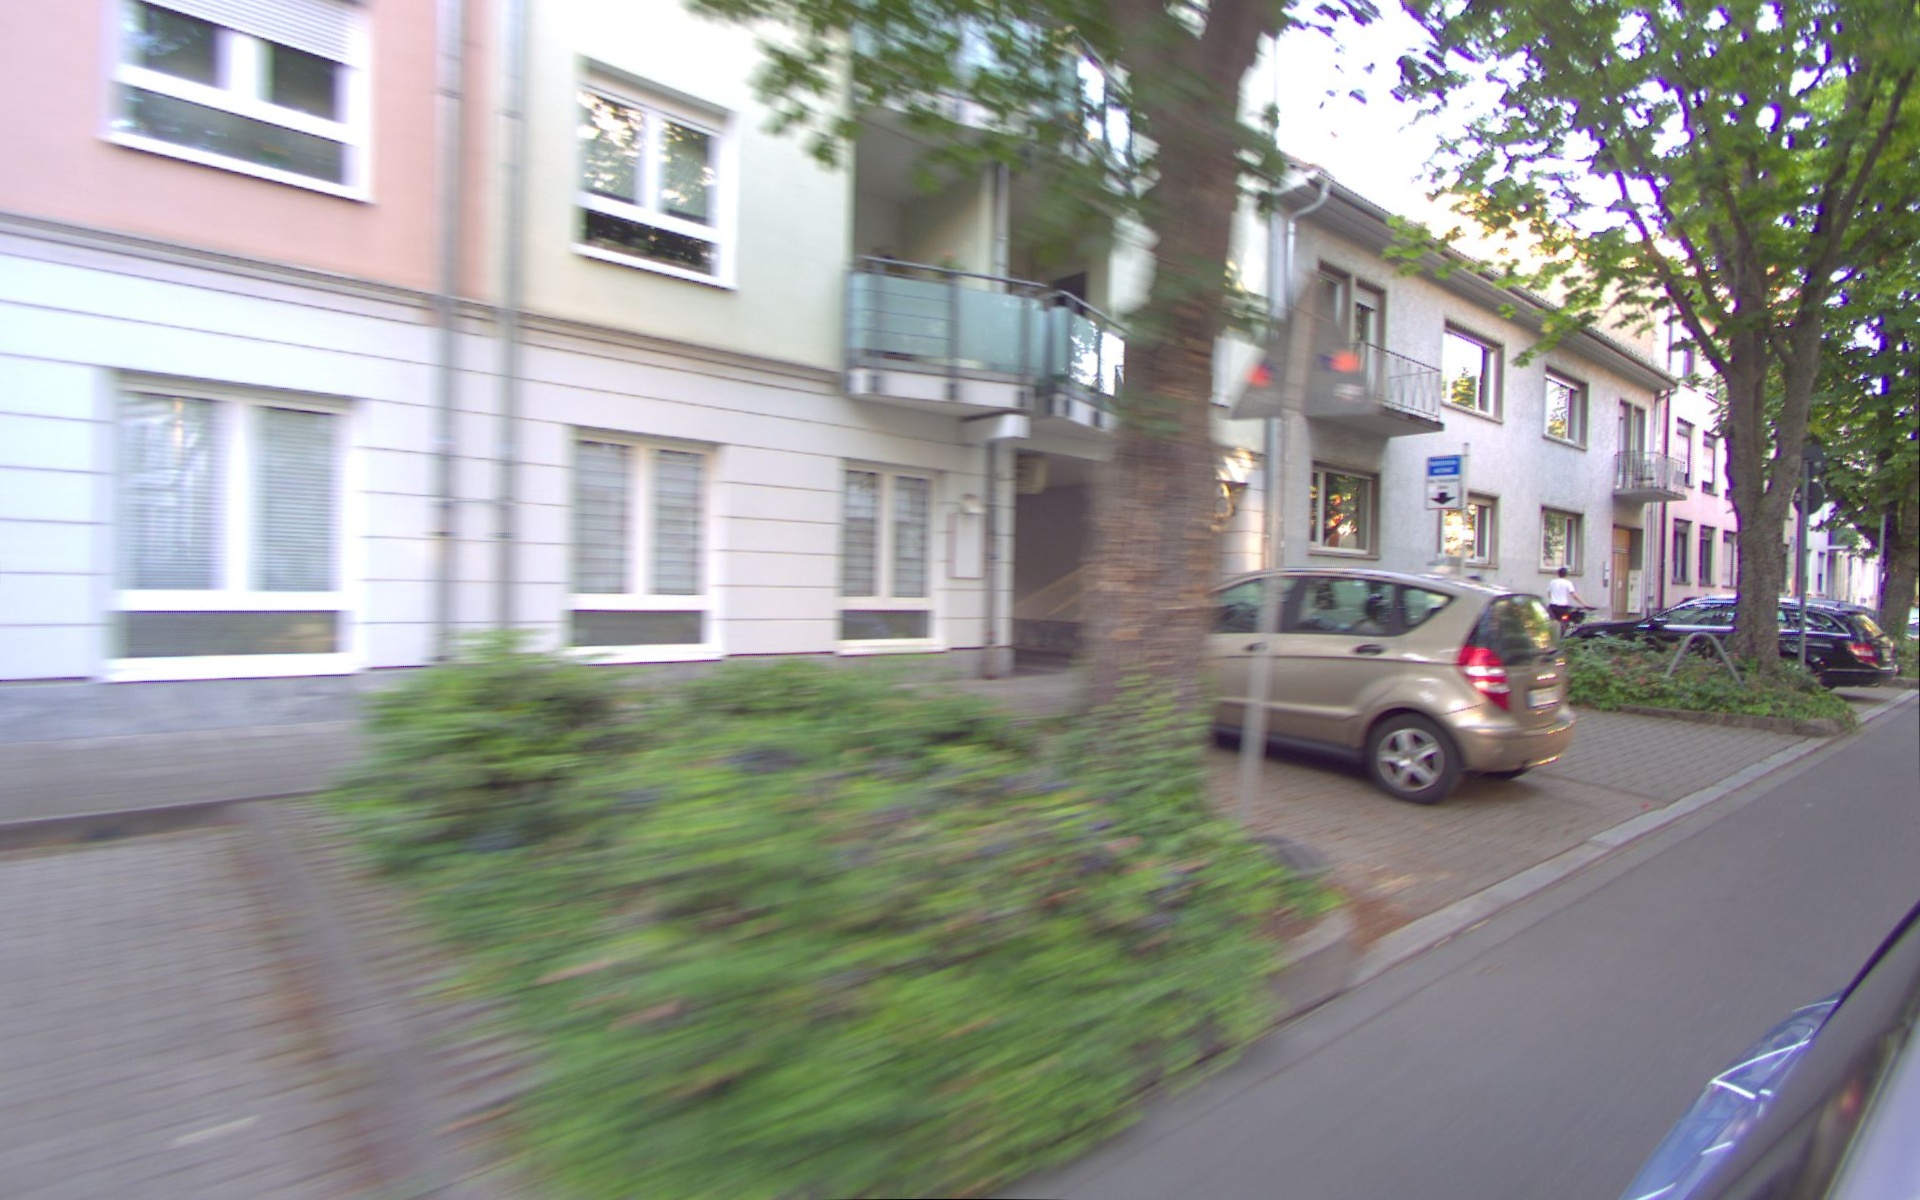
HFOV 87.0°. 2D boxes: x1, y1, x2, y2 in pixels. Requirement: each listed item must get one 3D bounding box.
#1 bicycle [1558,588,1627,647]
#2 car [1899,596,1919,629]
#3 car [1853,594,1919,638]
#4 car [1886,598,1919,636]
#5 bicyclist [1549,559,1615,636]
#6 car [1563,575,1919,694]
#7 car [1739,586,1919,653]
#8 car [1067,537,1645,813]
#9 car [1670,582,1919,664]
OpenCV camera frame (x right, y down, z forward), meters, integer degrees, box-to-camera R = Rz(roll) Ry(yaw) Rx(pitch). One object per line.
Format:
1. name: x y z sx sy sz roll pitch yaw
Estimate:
1. bicycle: 13.806 0.356 22.041 0.620 1.178 3.348 2 1 43
2. car: 43.690 0.639 44.198 1.685 1.428 3.838 0 2 -45
3. car: 34.353 0.598 35.730 1.768 1.509 4.086 1 1 -43
4. car: 40.538 0.723 40.548 1.953 1.516 4.884 1 1 -40
5. bicyclist: 13.570 -0.072 22.073 1.117 1.624 0.971 0 1 -45
6. car: 12.878 0.455 16.790 1.973 1.444 4.475 0 4 -36
7. car: 24.023 0.508 26.911 2.005 1.465 4.854 1 3 -38
8. car: 3.016 0.376 8.372 1.883 1.604 3.978 0 4 -41
9. car: 19.149 0.462 22.839 1.964 1.405 4.691 1 4 -39
